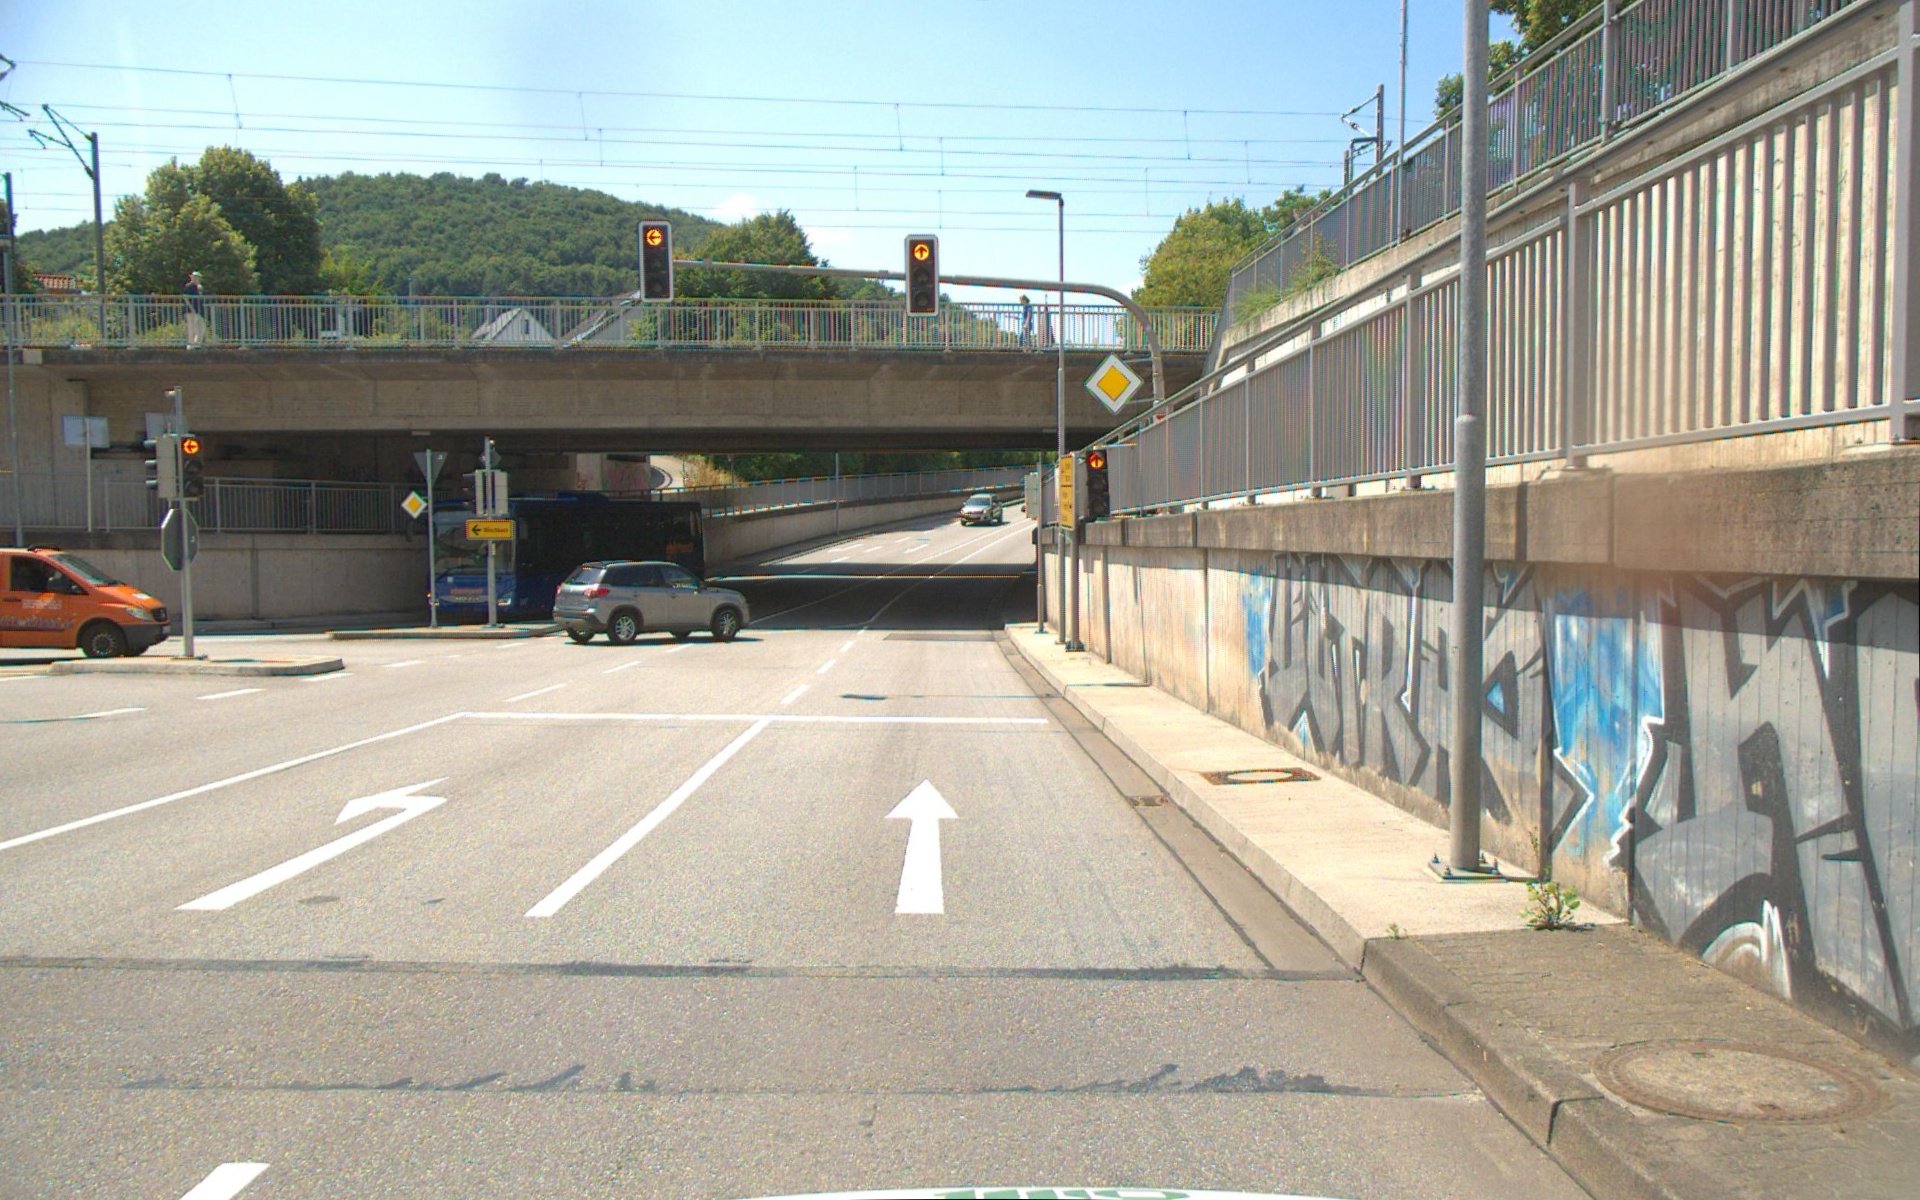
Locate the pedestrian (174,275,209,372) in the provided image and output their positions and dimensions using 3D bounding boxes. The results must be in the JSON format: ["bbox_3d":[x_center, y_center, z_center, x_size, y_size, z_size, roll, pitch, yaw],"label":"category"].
[{"bbox_3d":[-17.602,-6.324,37.905,0.566,2.117,0.534,-1,1,-12],"label":"pedestrian"}]

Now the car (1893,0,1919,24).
[{"bbox_3d":[9.506,-5.413,12.500,3.904,1.512,1.770,0,1,2],"label":"car"}]

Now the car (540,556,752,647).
[{"bbox_3d":[-6.332,-0.028,33.654,1.780,1.646,3.972,3,4,44],"label":"car"}]

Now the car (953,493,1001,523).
[{"bbox_3d":[1.007,-5.270,94.809,1.951,1.655,4.005,1,3,13],"label":"car"}]

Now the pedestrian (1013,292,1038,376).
[{"bbox_3d":[1.726,-6.996,43.556,0.529,2.117,0.534,-1,1,-8],"label":"pedestrian"}]

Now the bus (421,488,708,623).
[{"bbox_3d":[-10.472,-1.407,45.931,2.526,3.227,12.391,1,3,13],"label":"bus"}]

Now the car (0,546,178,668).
[{"bbox_3d":[-16.041,0.095,28.090,4.619,1.965,1.874,-1,3,-11],"label":"car"}]
